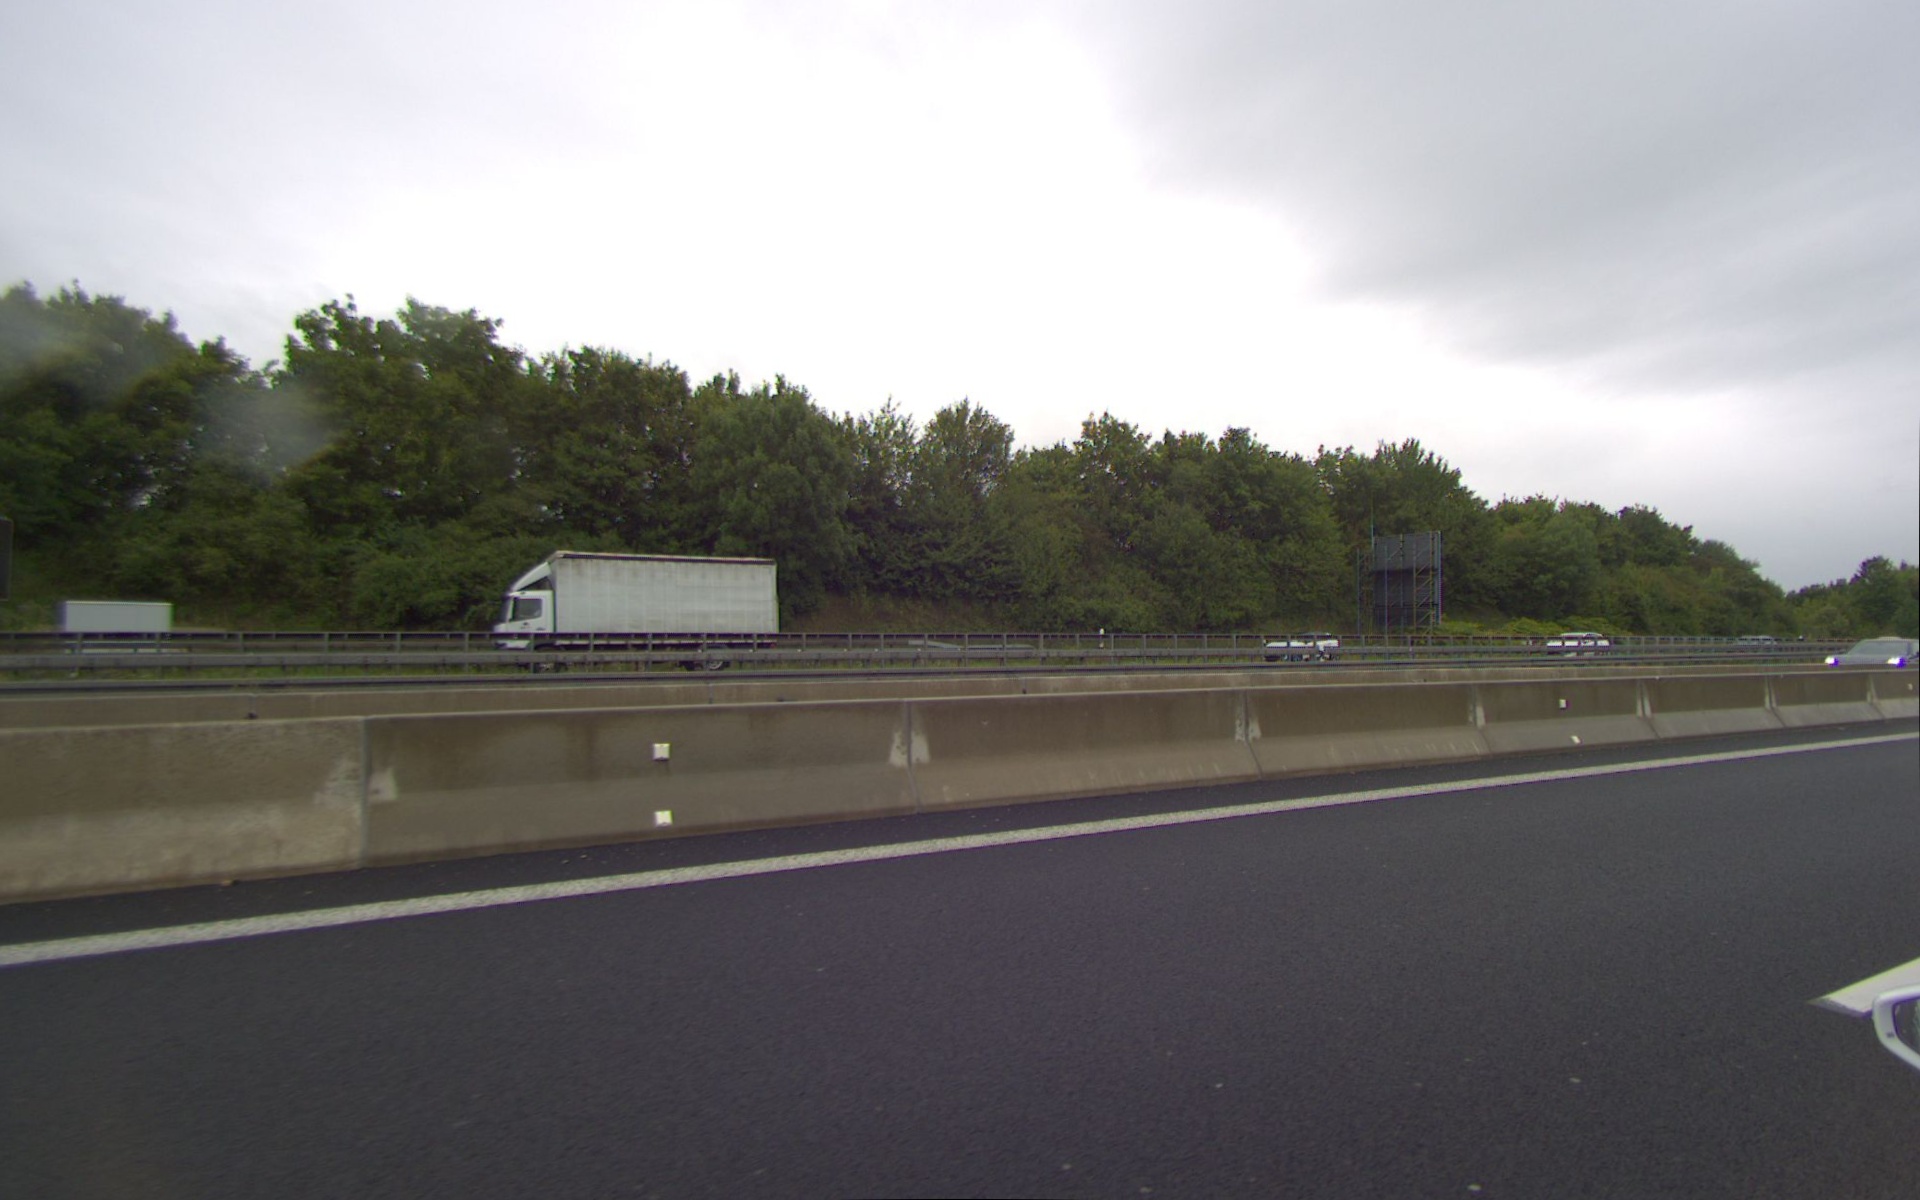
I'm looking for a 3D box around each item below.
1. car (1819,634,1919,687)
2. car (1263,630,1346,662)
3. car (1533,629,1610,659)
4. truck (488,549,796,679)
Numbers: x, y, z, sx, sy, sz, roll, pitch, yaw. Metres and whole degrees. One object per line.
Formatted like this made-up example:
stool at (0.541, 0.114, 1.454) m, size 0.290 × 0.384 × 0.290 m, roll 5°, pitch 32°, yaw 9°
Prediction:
car at (28.625, 1.842, 31.093) m, size 4.366 × 1.475 × 1.748 m, roll 2°, pitch 0°, yaw -30°
car at (17.102, 2.269, 49.835) m, size 3.953 × 1.475 × 1.668 m, roll 2°, pitch 0°, yaw -30°
car at (32.566, 2.336, 53.453) m, size 4.582 × 1.475 × 1.666 m, roll 2°, pitch 0°, yaw -33°
truck at (-10.662, 0.555, 34.146) m, size 9.520 × 3.930 × 3.060 m, roll 2°, pitch 0°, yaw -30°
